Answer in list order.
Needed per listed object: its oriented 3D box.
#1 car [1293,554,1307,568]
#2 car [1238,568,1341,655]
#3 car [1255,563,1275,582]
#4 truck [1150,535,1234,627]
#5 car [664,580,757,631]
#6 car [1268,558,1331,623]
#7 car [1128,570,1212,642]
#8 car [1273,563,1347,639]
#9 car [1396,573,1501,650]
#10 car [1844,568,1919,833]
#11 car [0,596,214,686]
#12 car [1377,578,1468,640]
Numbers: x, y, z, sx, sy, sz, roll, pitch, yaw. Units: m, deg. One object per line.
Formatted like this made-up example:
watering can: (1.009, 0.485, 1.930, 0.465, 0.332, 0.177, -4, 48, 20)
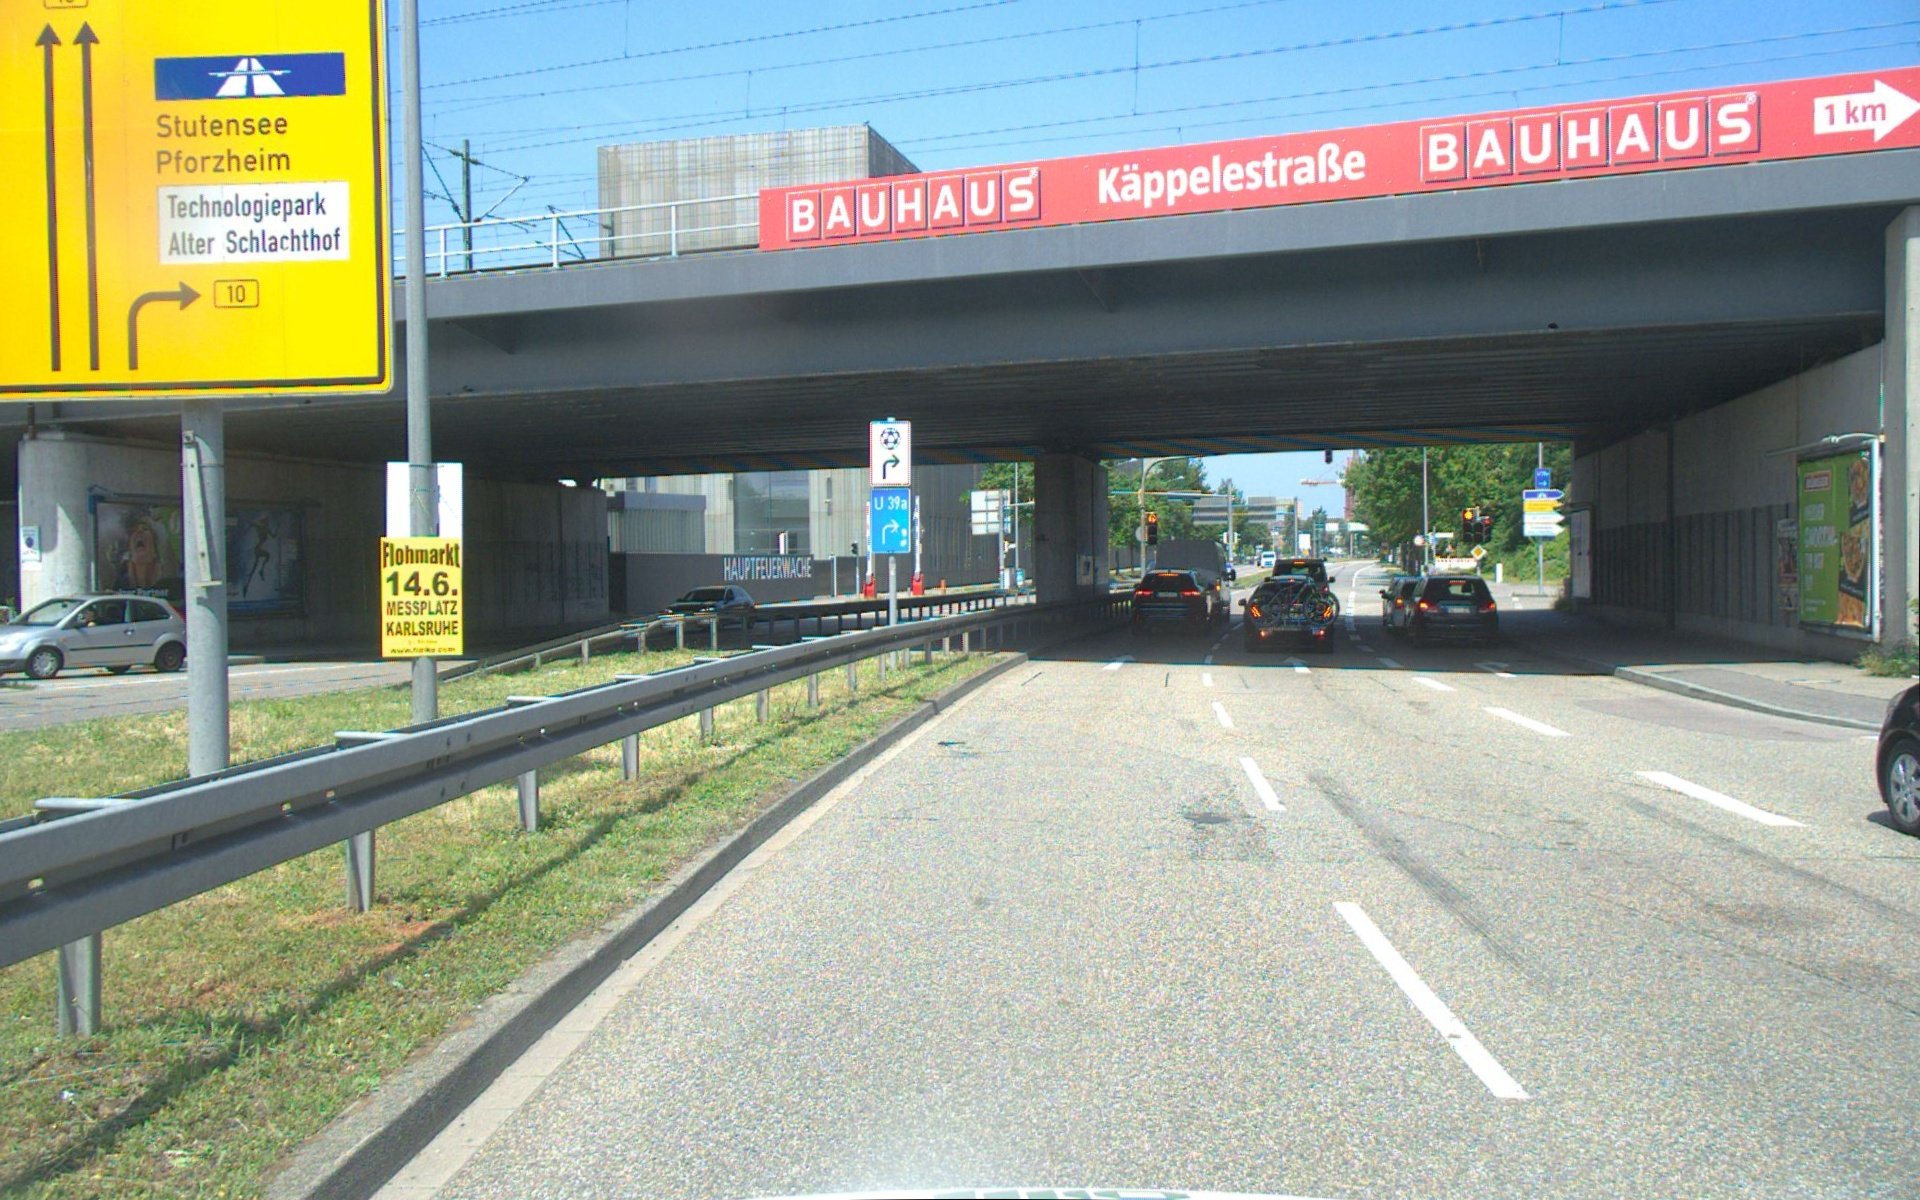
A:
car: (51.412, -5.834, 250.288, 1.951, 2.049, 4.004, 0, 0, 11)
car: (6.695, 0.194, 33.602, 1.915, 1.662, 4.284, 0, 1, 11)
car: (35.384, -3.166, 191.663, 1.951, 2.049, 4.003, -3, 0, 14)
truck: (7.048, -0.569, 49.878, 2.023, 2.582, 4.003, -2, 0, 14)
car: (-8.248, 0.173, 55.051, 1.814, 1.651, 4.004, 0, 0, 11)
car: (10.496, -0.284, 51.352, 1.801, 1.923, 4.004, 0, 0, 10)
car: (5.472, 0.143, 42.739, 1.899, 1.751, 4.004, 0, 0, 10)
car: (9.223, 0.014, 43.797, 1.801, 1.923, 4.004, 0, 0, 10)
car: (10.689, 0.237, 36.426, 1.801, 1.596, 4.004, 0, 0, 10)
car: (6.722, 0.632, 9.045, 1.730, 1.627, 4.079, 0, 1, 2)
car: (-15.767, 0.721, 29.652, 1.955, 1.466, 3.995, -3, -1, 28)
car: (11.913, 0.225, 42.794, 1.864, 1.514, 4.004, 0, 0, 10)
